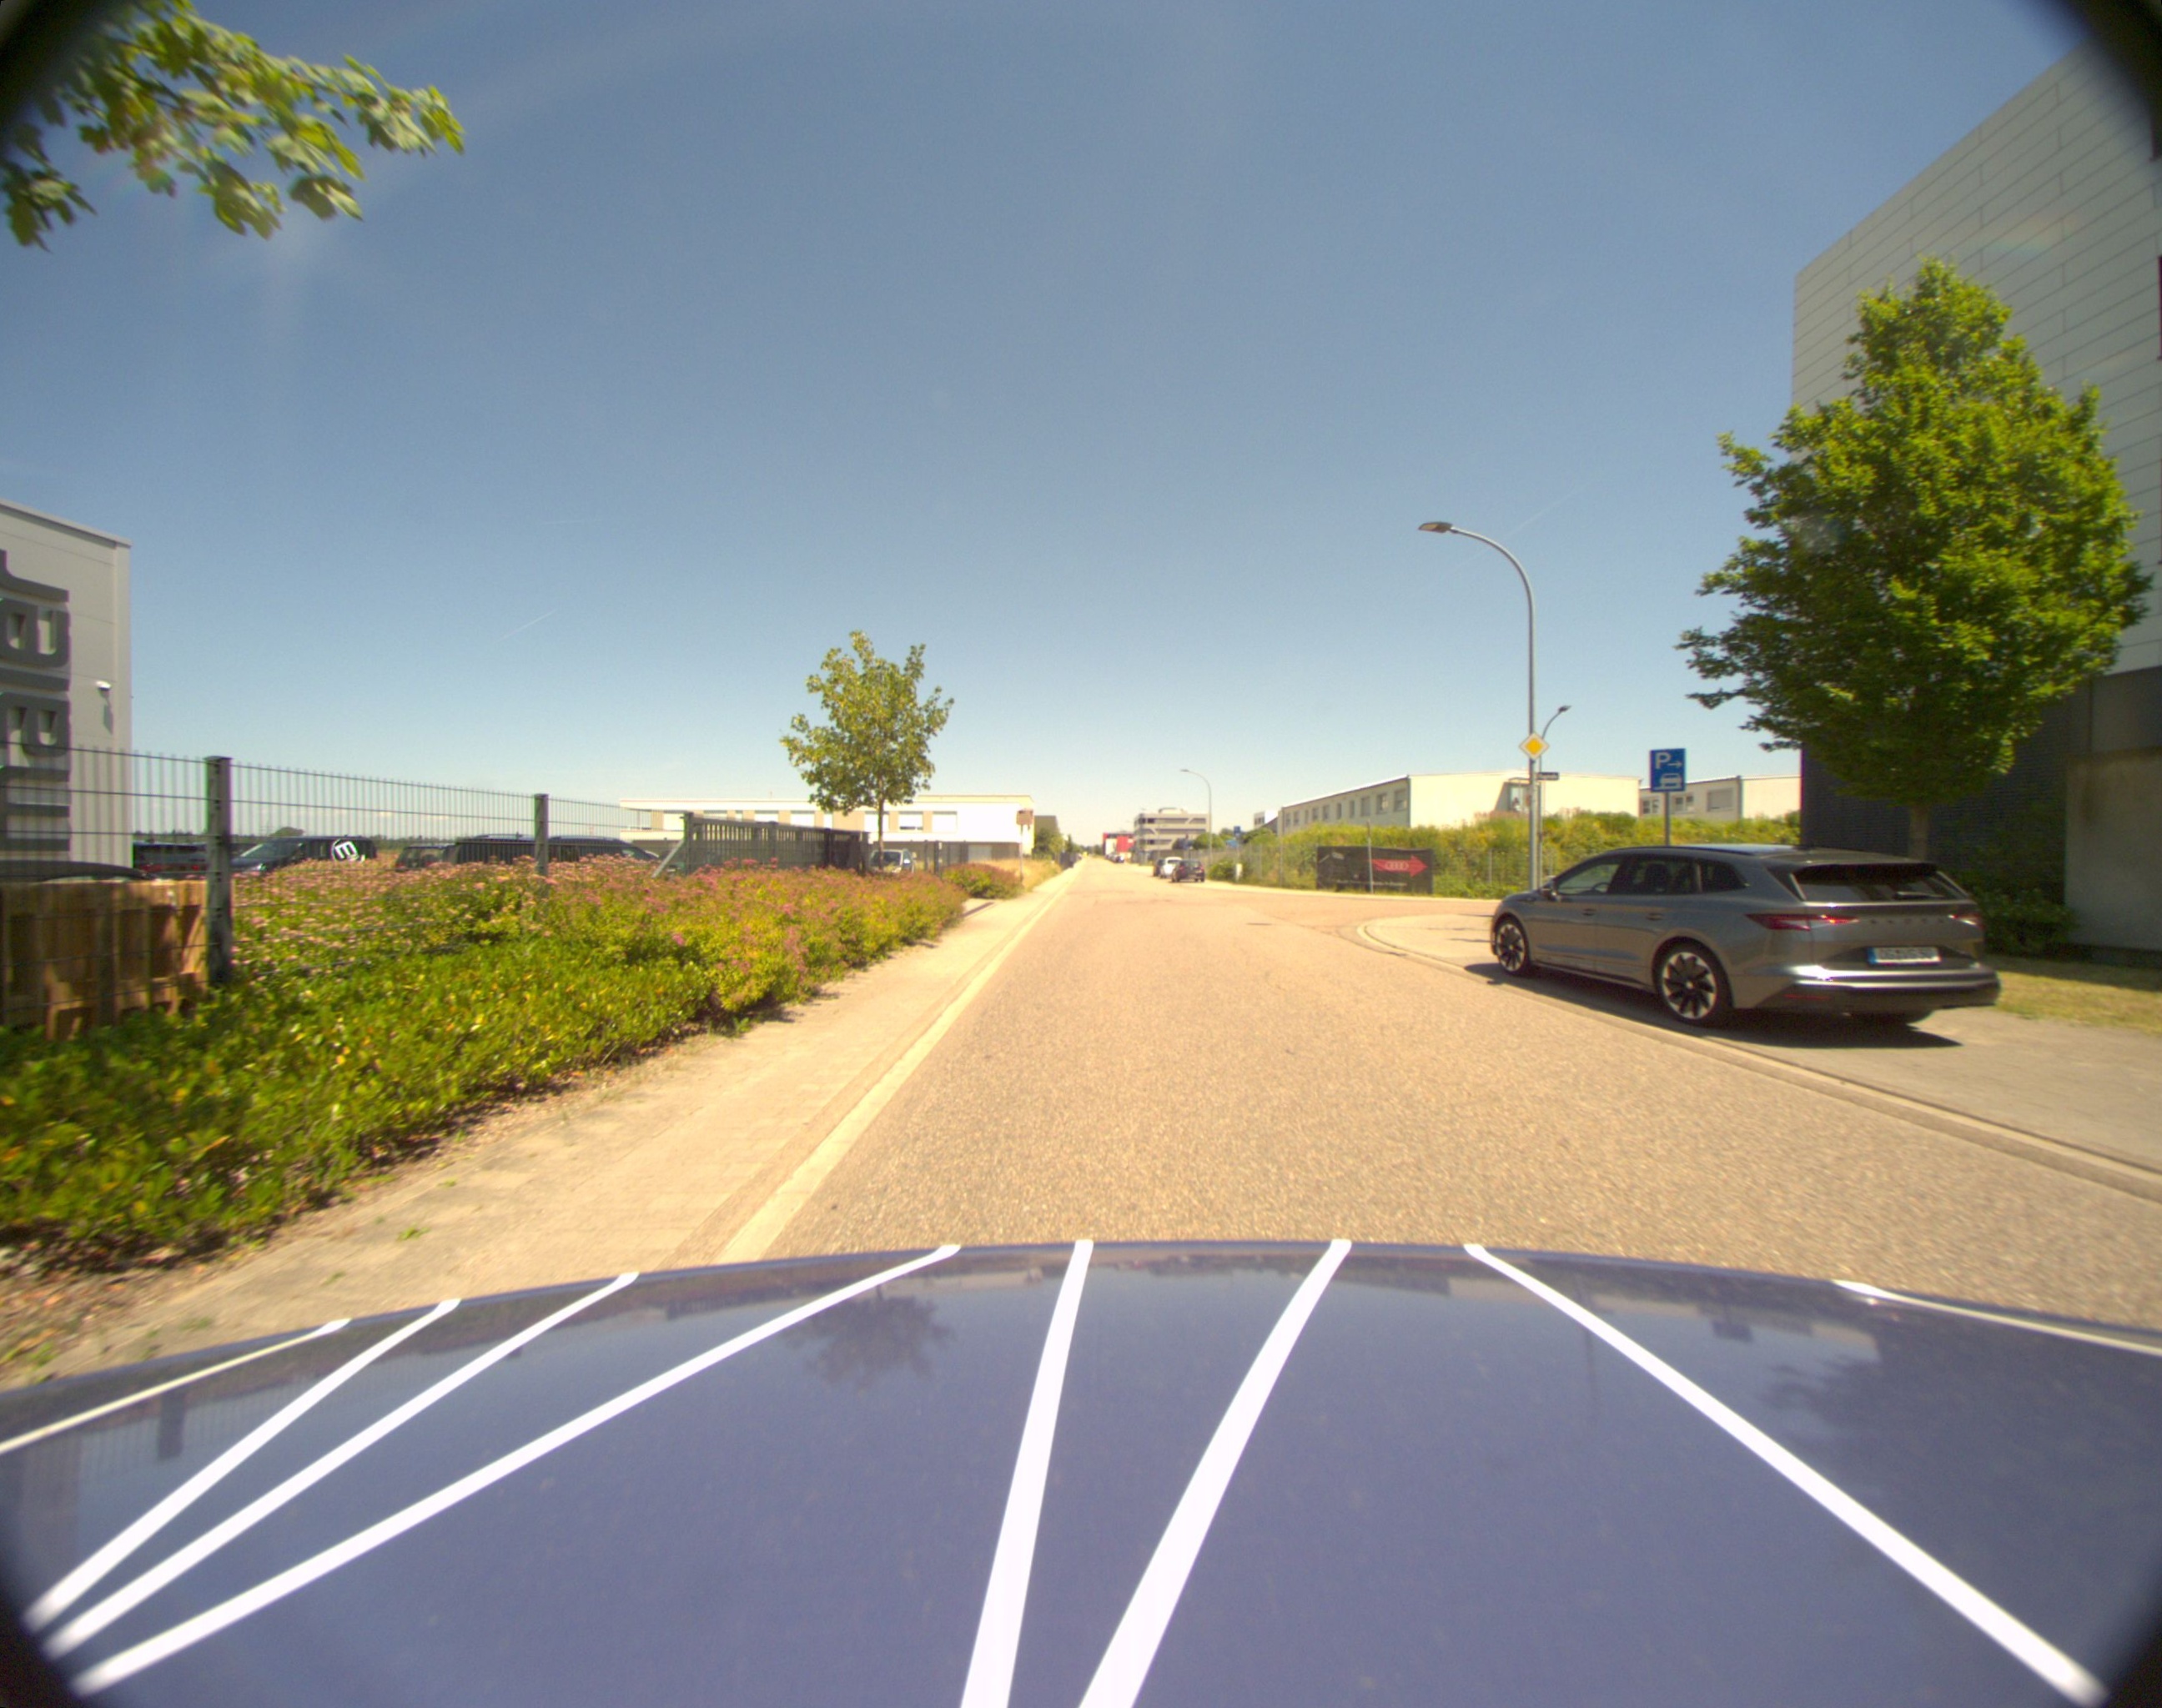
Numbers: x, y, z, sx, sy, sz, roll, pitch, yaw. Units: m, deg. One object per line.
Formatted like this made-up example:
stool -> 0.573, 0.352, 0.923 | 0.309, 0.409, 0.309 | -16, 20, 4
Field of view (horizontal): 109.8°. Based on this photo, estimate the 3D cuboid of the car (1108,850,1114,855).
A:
car -> 9.425, -0.417, 240.225 | 1.772, 1.521, 3.777 | -2, 1, 1

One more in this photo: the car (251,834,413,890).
car -> -26.758, 0.247, 27.382 | 1.753, 1.836, 4.125 | 1, 1, 0

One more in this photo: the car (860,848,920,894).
car -> -6.874, 0.577, 27.559 | 1.470, 1.565, 2.661 | 1, 1, 1

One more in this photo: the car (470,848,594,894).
car -> -18.589, 0.533, 25.941 | 1.518, 1.422, 3.783 | 1, 1, 0

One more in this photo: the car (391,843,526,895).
car -> -21.197, 0.448, 26.068 | 1.518, 1.624, 3.783 | 1, 1, 0

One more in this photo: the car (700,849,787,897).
car -> -11.488, 0.598, 26.064 | 1.518, 1.487, 3.331 | 1, 1, 0

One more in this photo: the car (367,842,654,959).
car -> -8.778, 0.656, 12.138 | 1.814, 1.543, 3.577 | 1, -1, 1

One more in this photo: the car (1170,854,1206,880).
car -> 6.599, 0.789, 47.199 | 1.678, 1.442, 4.068 | -1, 1, 1

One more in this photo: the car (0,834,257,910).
car -> -19.403, 0.357, 15.178 | 3.997, 1.370, 1.706 | 1, -2, 0

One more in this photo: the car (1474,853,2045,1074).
car -> 6.108, 0.803, 7.769 | 1.775, 1.578, 4.480 | -1, 0, -1

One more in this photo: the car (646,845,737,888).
car -> -13.493, 0.381, 26.522 | 1.461, 1.404, 3.331 | 1, 1, 0

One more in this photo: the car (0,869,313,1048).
car -> -8.979, 0.823, 6.117 | 1.622, 1.265, 3.879 | 1, 1, 1

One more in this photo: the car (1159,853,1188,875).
car -> 6.831, 0.734, 56.492 | 1.678, 1.521, 3.757 | -1, 1, 1

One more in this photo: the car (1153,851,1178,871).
car -> 6.998, 0.577, 62.997 | 1.678, 1.521, 3.909 | -1, 1, 1

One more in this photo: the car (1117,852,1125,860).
car -> 8.310, 0.444, 158.054 | 1.695, 1.481, 3.660 | -2, 1, 1
